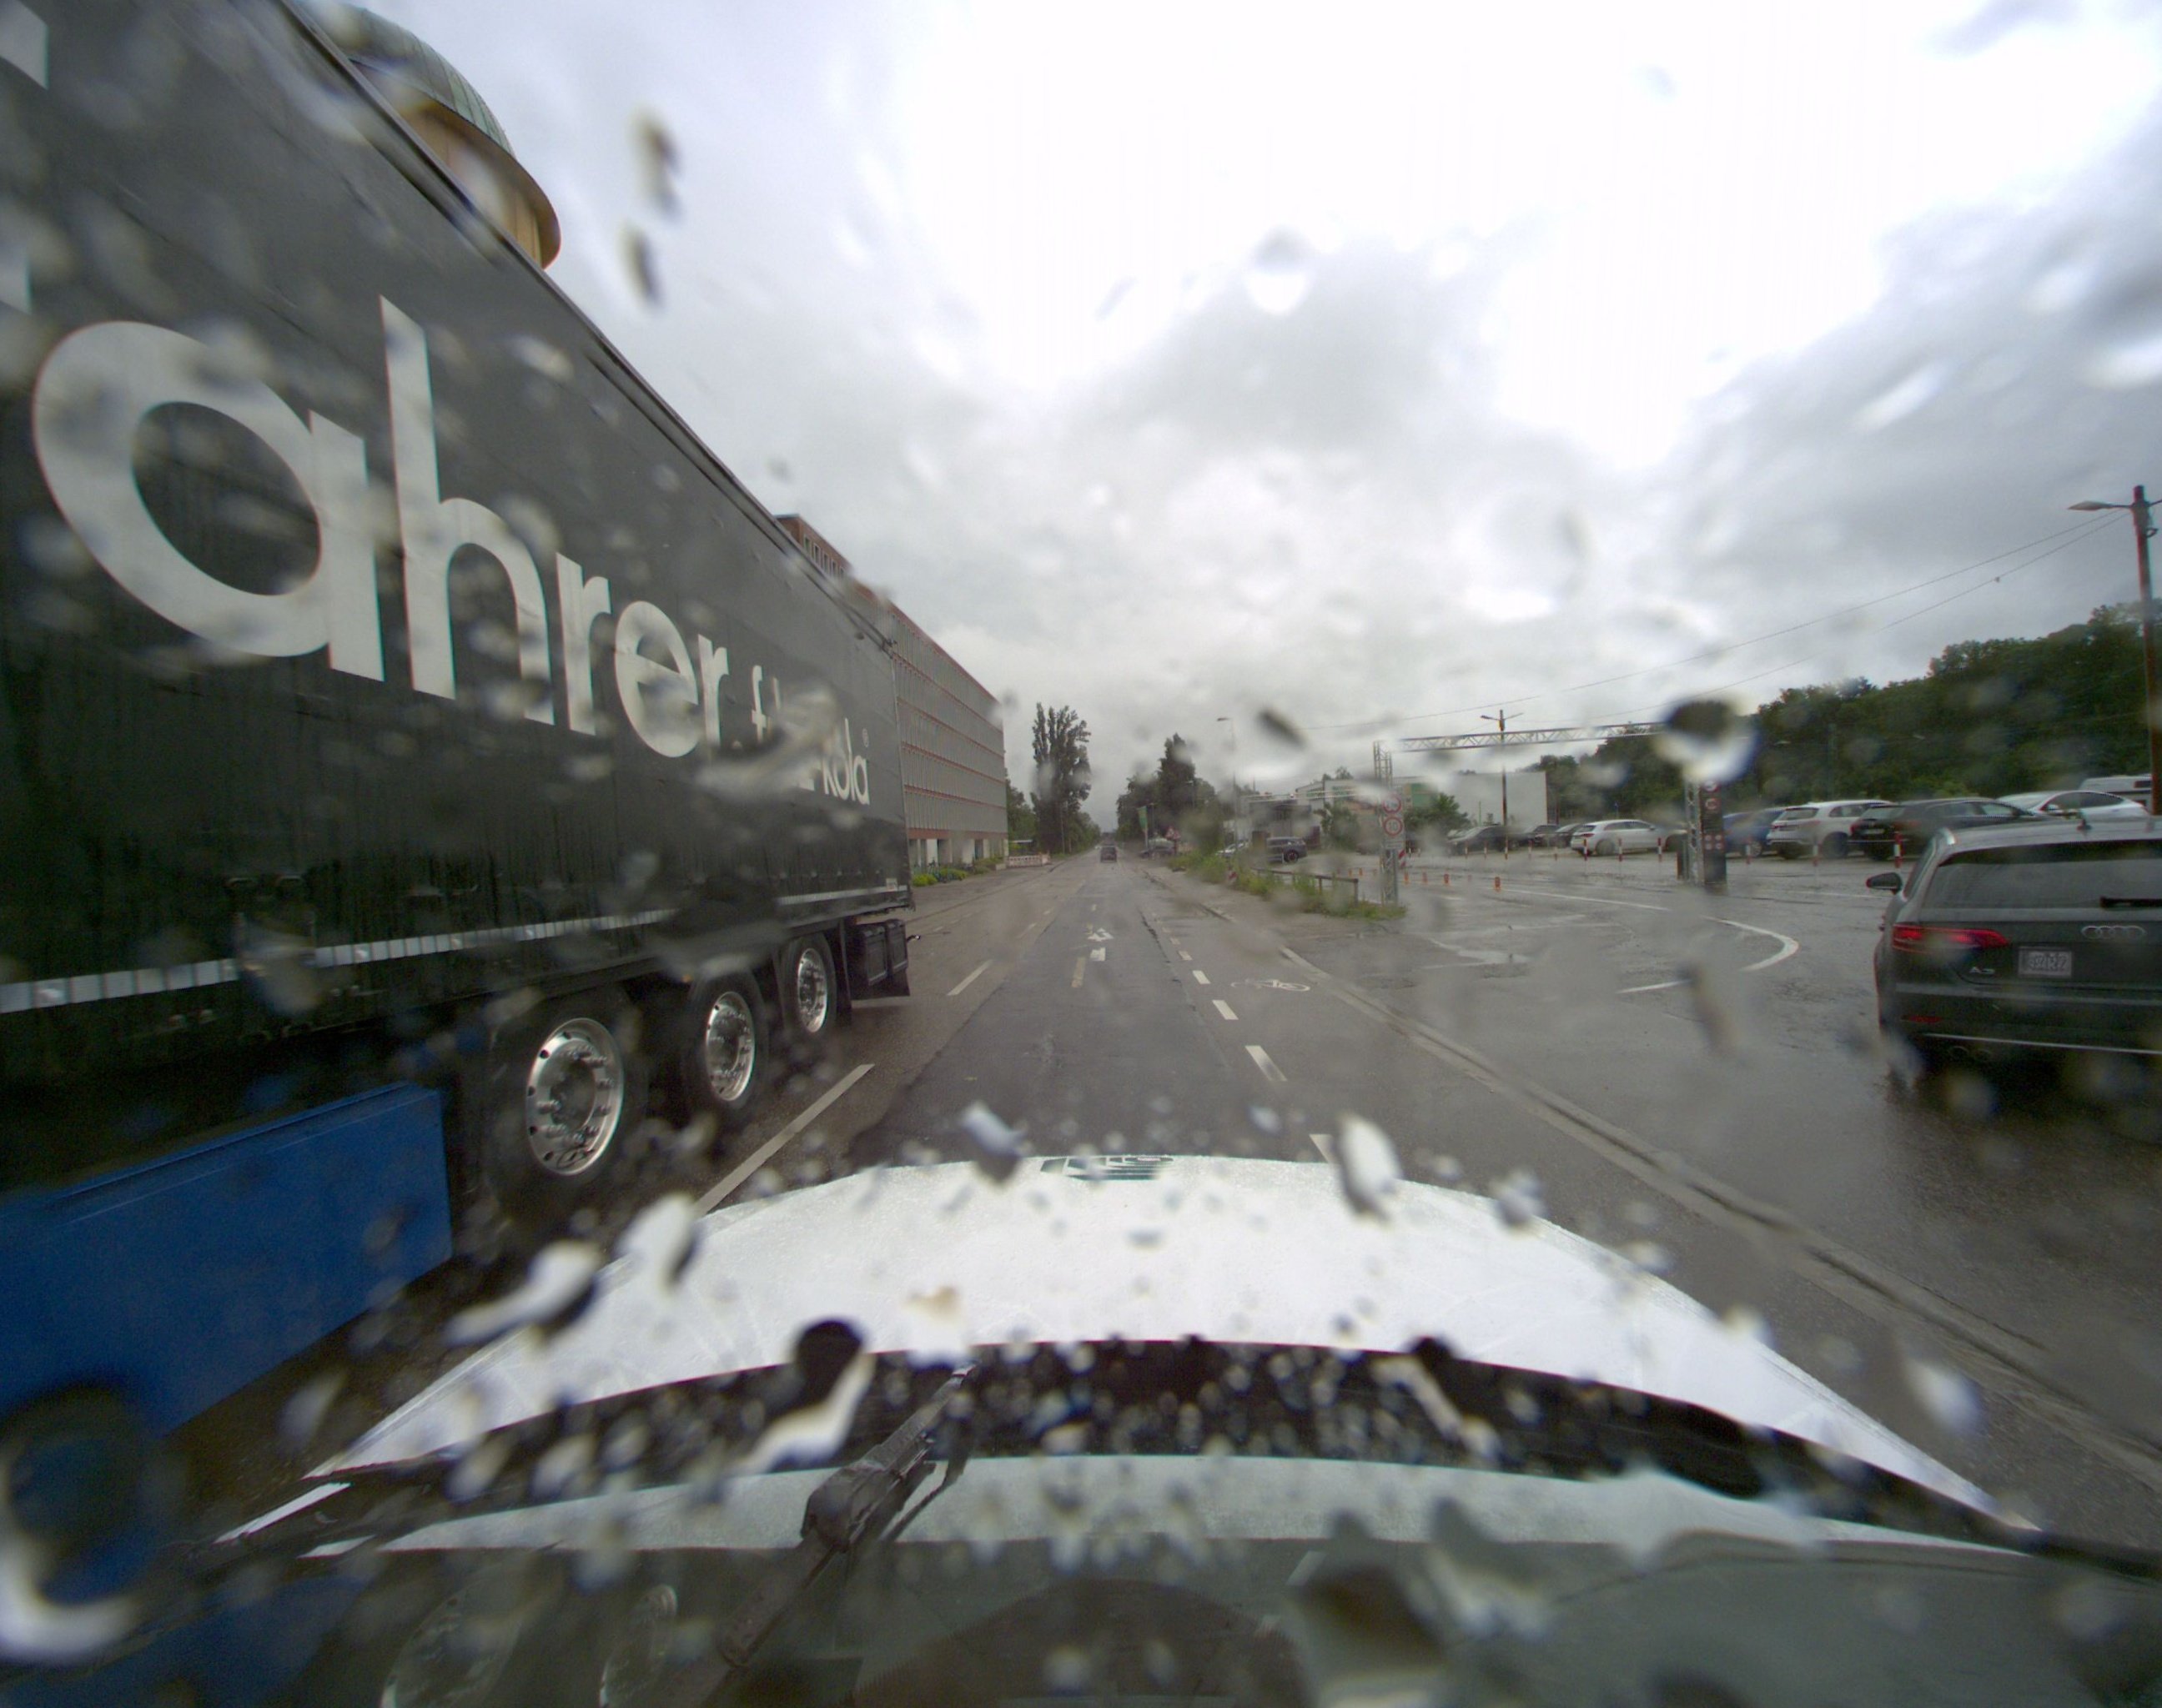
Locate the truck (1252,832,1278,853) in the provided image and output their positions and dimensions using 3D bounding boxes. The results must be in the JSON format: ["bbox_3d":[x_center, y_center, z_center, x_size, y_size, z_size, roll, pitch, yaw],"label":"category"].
[{"bbox_3d":[24.857,-1.578,110.121,2.290,2.659,7.427,-4,0,5],"label":"truck"}]

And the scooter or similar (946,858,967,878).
[{"bbox_3d":[-8.153,0.899,53.296,1.304,1.230,0.470,-3,0,31],"label":"scooter or similar"}]

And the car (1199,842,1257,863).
[{"bbox_3d":[11.335,-0.112,62.945,4.165,1.510,1.891,-2,-1,2],"label":"car"}]

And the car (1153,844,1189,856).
[{"bbox_3d":[12.114,-0.544,109.750,4.687,1.462,1.891,-2,1,0],"label":"car"}]

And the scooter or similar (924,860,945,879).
[{"bbox_3d":[-9.524,1.000,52.954,1.317,1.177,0.466,-3,0,-10],"label":"scooter or similar"}]

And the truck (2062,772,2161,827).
[{"bbox_3d":[50.503,-2.604,38.544,2.064,2.401,5.086,-3,0,2],"label":"truck"}]

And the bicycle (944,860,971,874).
[{"bbox_3d":[-9.609,0.995,63.400,1.941,1.077,0.620,-1,0,0],"label":"bicycle"}]

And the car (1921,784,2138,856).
[{"bbox_3d":[27.330,-0.935,23.567,4.047,1.659,1.832,-5,-1,0],"label":"car"}]

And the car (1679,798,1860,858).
[{"bbox_3d":[22.102,-0.795,26.300,4.026,1.484,1.930,-5,-1,4],"label":"car"}]

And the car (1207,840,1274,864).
[{"bbox_3d":[10.933,-0.105,56.074,4.278,1.517,1.820,-2,-1,2],"label":"car"}]

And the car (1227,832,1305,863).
[{"bbox_3d":[11.955,-0.381,53.002,4.657,1.735,2.132,-3,-1,6],"label":"car"}]

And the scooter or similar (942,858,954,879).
[{"bbox_3d":[-8.302,0.894,50.718,0.464,1.230,1.320,-3,0,-1],"label":"scooter or similar"}]

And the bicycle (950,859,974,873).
[{"bbox_3d":[-9.583,0.992,65.810,1.853,1.077,0.544,-1,0,0],"label":"bicycle"}]

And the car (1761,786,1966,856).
[{"bbox_3d":[22.129,-0.898,23.173,3.885,1.584,1.789,-5,-1,4],"label":"car"}]

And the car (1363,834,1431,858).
[{"bbox_3d":[22.067,-0.564,56.985,3.971,1.485,2.001,-2,-1,2],"label":"car"}]

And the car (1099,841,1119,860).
[{"bbox_3d":[3.105,-0.374,91.083,1.986,1.910,4.202,-3,0,1],"label":"car"}]

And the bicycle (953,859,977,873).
[{"bbox_3d":[-9.510,0.982,66.671,1.853,1.077,0.544,-1,0,0],"label":"bicycle"}]

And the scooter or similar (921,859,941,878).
[{"bbox_3d":[-10.425,0.997,56.585,1.219,1.208,0.418,-3,0,9],"label":"scooter or similar"}]

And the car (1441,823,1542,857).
[{"bbox_3d":[22.839,-0.765,45.415,4.610,1.716,2.016,-2,-1,-4],"label":"car"}]

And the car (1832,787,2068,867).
[{"bbox_3d":[21.716,-0.632,20.489,3.757,1.584,1.789,-5,-1,4],"label":"car"}]

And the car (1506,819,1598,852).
[{"bbox_3d":[29.105,-1.114,50.478,4.425,1.605,2.044,-5,-1,1],"label":"car"}]

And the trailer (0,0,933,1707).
[{"bbox_3d":[-3.488,-0.465,2.244,3.283,4.653,13.734,-3,0,1],"label":"trailer"}]

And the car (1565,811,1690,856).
[{"bbox_3d":[22.753,-0.807,34.048,3.812,1.484,1.930,-5,-1,4],"label":"car"}]

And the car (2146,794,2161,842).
[{"bbox_3d":[38.267,-1.299,26.581,4.302,1.589,2.022,-3,0,1],"label":"car"}]

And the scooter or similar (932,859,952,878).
[{"bbox_3d":[-9.301,0.951,54.574,0.461,1.208,1.215,-3,0,44],"label":"scooter or similar"}]

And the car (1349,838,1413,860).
[{"bbox_3d":[22.047,-0.349,59.973,3.971,1.409,2.001,-2,-1,2],"label":"car"}]

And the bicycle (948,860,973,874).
[{"bbox_3d":[-9.582,1.000,64.927,1.853,1.077,0.544,-1,0,0],"label":"bicycle"}]

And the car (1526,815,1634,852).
[{"bbox_3d":[27.936,-1.113,45.723,4.685,1.605,2.044,-5,-1,1],"label":"car"}]

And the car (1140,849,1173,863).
[{"bbox_3d":[9.492,0.233,102.430,4.117,1.569,1.767,-3,0,4],"label":"car"}]

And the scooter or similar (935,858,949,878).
[{"bbox_3d":[-8.880,0.916,52.036,0.468,1.230,1.309,-3,0,-26],"label":"scooter or similar"}]

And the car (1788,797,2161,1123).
[{"bbox_3d":[6.330,0.446,5.525,4.252,1.456,1.877,-4,-1,-44],"label":"car"}]

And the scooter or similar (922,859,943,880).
[{"bbox_3d":[-9.162,0.963,50.116,1.304,1.230,0.511,-3,0,40],"label":"scooter or similar"}]

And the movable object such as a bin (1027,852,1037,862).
[{"bbox_3d":[-6.355,0.392,106.050,1.293,1.308,1.446,-2,1,-4],"label":"movable object such as a bin"}]
